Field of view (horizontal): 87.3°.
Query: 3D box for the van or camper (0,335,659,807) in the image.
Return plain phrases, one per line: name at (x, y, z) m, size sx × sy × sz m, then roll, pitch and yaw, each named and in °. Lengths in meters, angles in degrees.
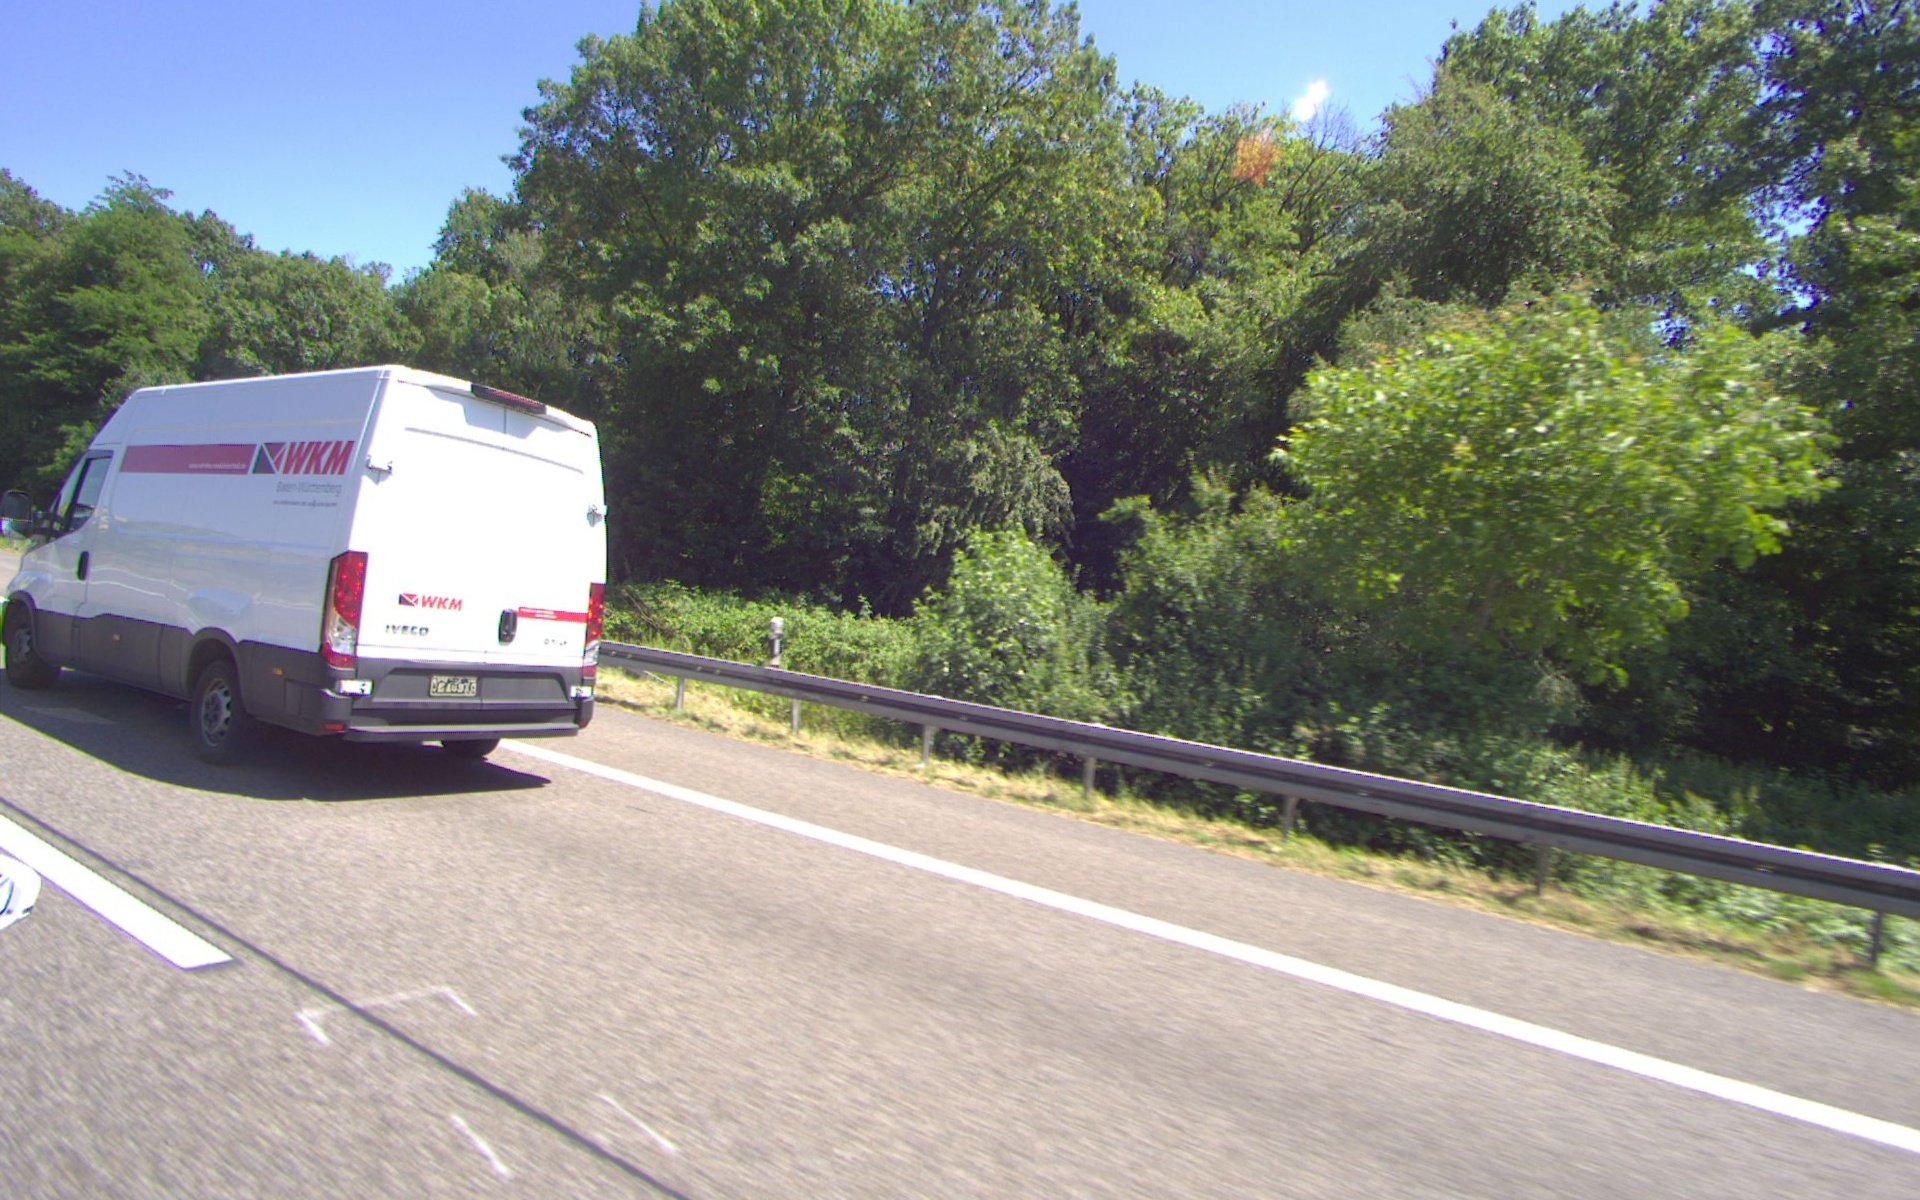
van or camper at (-5.592, -0.364, 8.178) m, size 6.379 × 2.668 × 2.026 m, roll 6°, pitch -2°, yaw 31°
